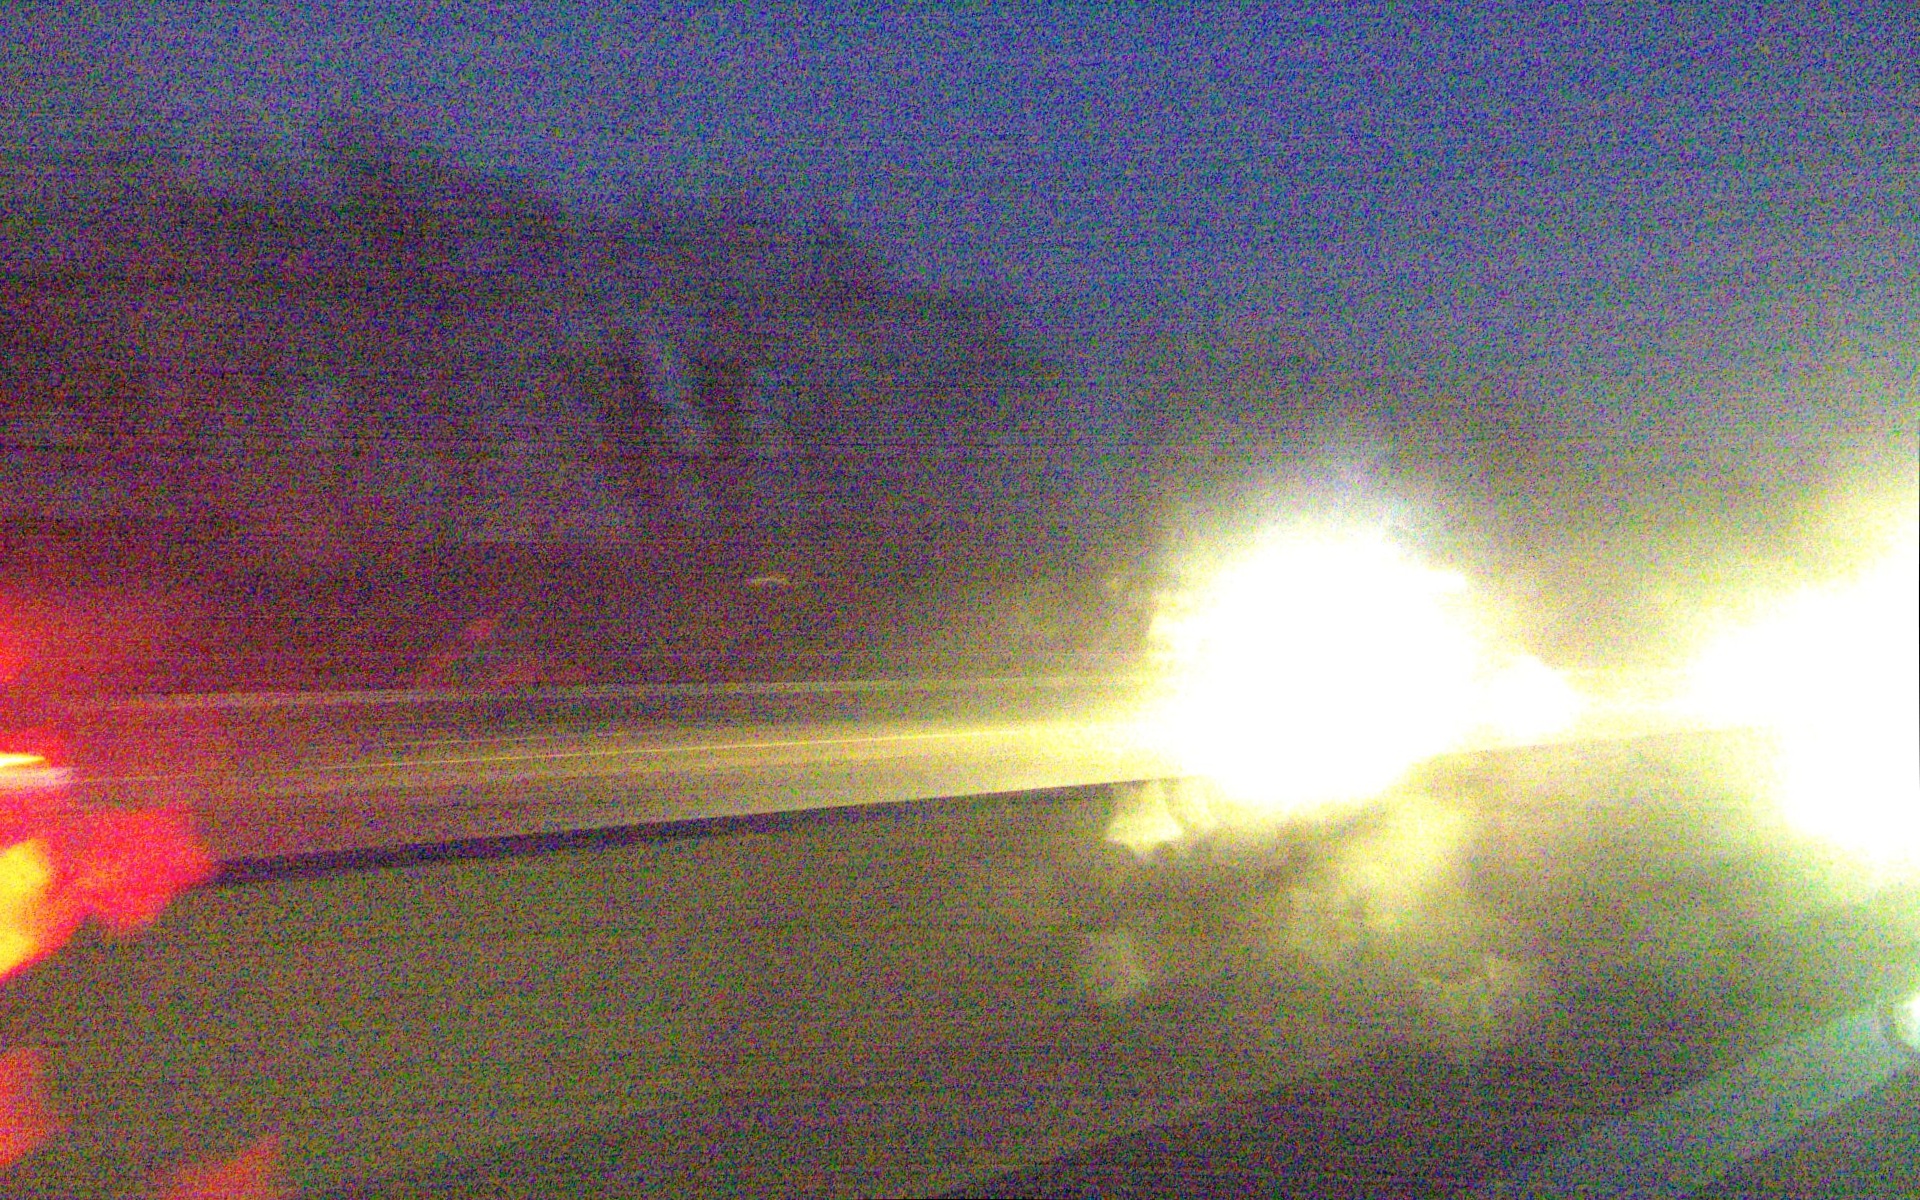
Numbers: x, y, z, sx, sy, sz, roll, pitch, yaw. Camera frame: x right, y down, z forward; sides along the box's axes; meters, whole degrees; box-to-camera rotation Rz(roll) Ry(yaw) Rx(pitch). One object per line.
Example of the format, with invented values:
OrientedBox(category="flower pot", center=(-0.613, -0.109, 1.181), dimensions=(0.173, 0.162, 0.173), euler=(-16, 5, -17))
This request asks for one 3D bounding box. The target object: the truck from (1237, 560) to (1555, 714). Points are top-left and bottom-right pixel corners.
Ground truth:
OrientedBox(category="truck", center=(11.072, 0.920, 25.230), dimensions=(8.245, 3.339, 3.060), euler=(1, -2, -30))

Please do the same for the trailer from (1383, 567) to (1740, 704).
OrientedBox(category="trailer", center=(17.856, 1.027, 29.235), dimensions=(13.001, 3.339, 3.060), euler=(1, -2, -30))

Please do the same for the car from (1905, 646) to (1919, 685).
OrientedBox(category="car", center=(44.472, 2.943, 44.995), dimensions=(4.453, 1.706, 1.908), euler=(2, -3, -30))
